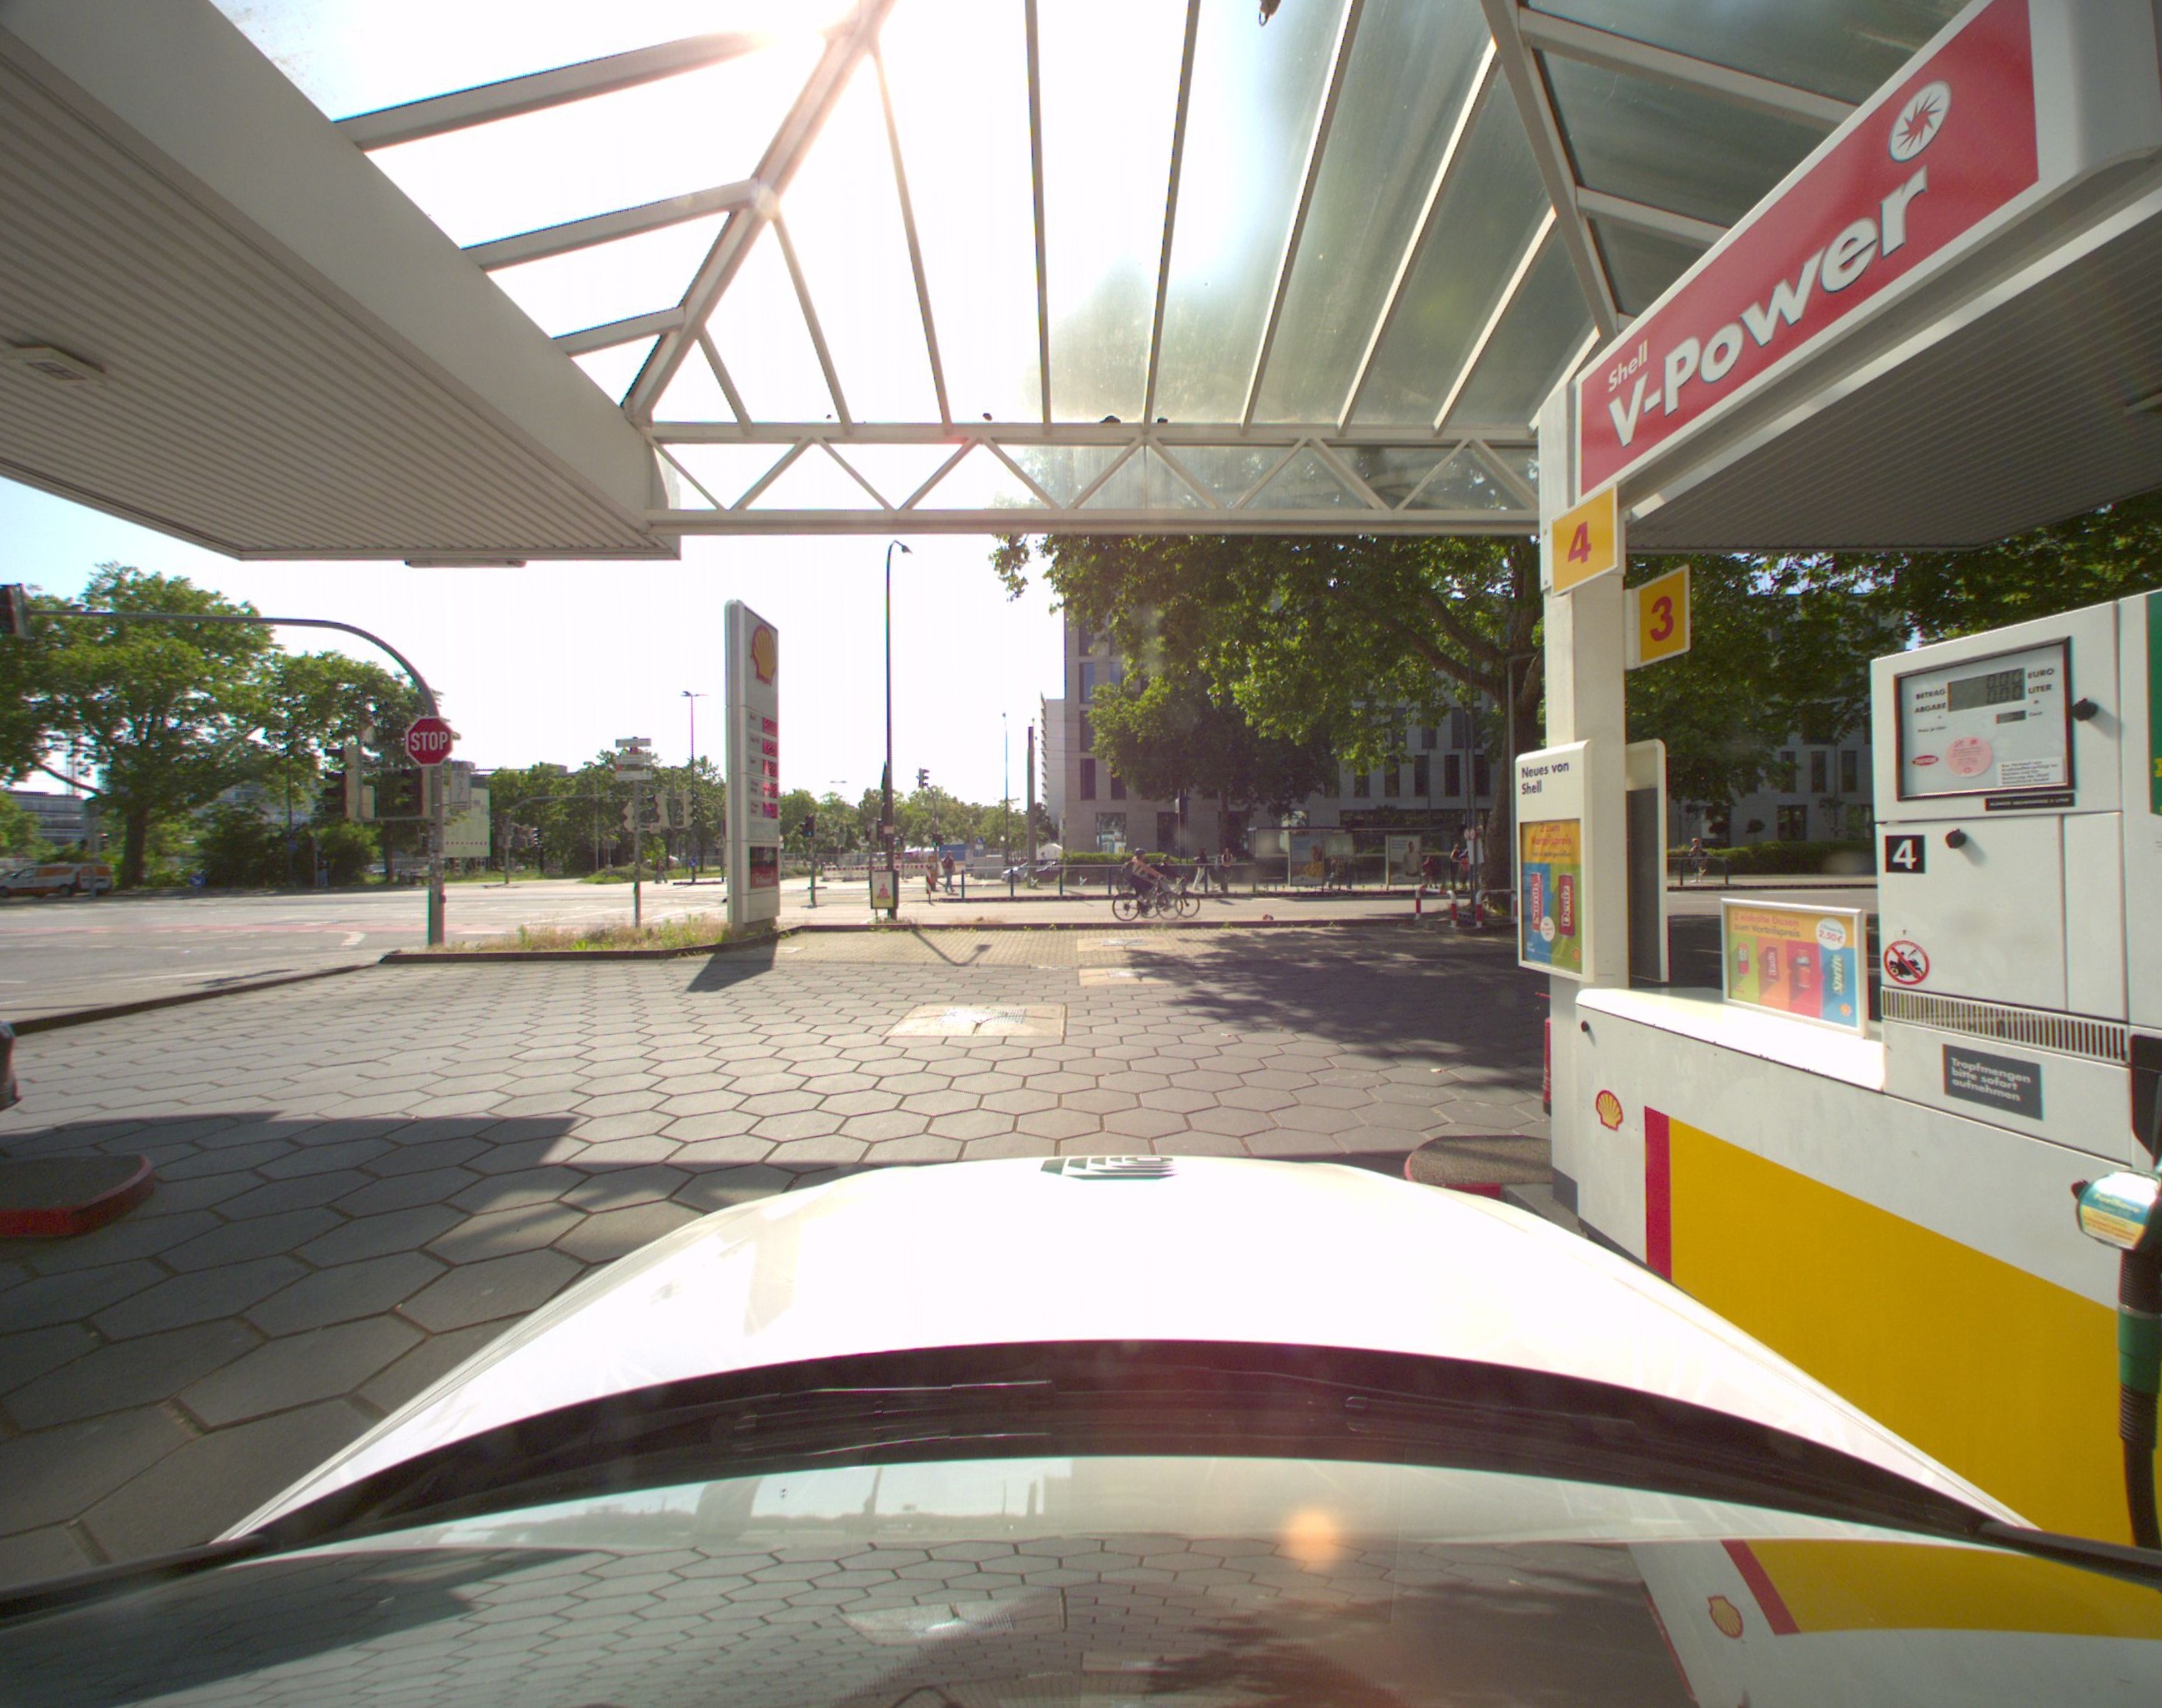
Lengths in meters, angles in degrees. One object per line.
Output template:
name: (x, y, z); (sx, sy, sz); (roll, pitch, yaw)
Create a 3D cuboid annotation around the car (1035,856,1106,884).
car: (-0.632, 0.899, 46.896); (3.982, 1.552, 1.699); (-1, 0, -7)

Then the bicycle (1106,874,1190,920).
bicycle: (1.648, 1.060, 20.178); (2.015, 1.082, 0.639); (-1, 0, -4)

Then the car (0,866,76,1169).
car: (-6.341, 0.845, 2.420); (1.739, 1.532, 3.998); (-2, -1, -1)

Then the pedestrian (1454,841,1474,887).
pedestrian: (14.448, 0.369, 30.703); (0.497, 1.735, 0.524); (-1, 0, 2)

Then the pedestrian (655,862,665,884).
pedestrian: (-29.355, 1.320, 56.781); (0.566, 1.469, 0.509); (-1, 0, -25)

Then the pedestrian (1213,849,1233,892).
pedestrian: (5.296, 0.602, 30.379); (0.582, 1.591, 0.670); (-1, 1, -1)

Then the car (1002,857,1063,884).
car: (-2.992, 0.982, 49.880); (3.678, 1.552, 1.588); (-1, 0, -7)

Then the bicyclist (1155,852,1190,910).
bicyclist: (2.460, 0.711, 22.003); (0.860, 1.544, 0.534); (0, -1, -2)

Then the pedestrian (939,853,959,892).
pedestrian: (-5.233, 0.718, 32.213); (0.646, 1.540, 0.504); (-1, 0, 8)

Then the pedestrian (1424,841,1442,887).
pedestrian: (13.330, 0.375, 30.862); (0.497, 1.735, 0.406); (-1, 0, 2)

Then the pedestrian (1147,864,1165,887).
pedestrian: (2.913, 0.839, 31.634); (0.686, 0.880, 0.504); (-1, 0, 8)

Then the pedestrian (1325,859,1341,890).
pedestrian: (9.479, 0.770, 30.628); (0.496, 1.138, 0.525); (-1, 0, 5)

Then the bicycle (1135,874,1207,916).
bicycle: (2.418, 1.101, 21.999); (1.856, 1.082, 0.524); (-1, 0, -2)

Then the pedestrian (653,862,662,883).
pedestrian: (-29.998, 1.312, 57.678); (0.566, 1.469, 0.509); (-1, 0, -25)

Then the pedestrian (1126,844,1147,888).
pedestrian: (2.174, 0.458, 31.736); (0.772, 1.683, 0.504); (-1, 0, 8)

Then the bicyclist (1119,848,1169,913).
bicyclist: (1.552, 0.649, 20.182); (1.167, 1.580, 0.639); (-1, 0, -4)

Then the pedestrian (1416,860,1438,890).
pedestrian: (13.091, 0.793, 30.788); (0.625, 1.138, 0.525); (-1, 0, 5)

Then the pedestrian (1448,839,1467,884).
pedestrian: (14.900, 0.289, 32.202); (0.497, 1.735, 0.524); (-1, 0, 2)

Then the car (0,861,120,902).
car: (-56.929, 1.499, 45.244); (4.423, 2.013, 1.997); (-3, -1, -4)

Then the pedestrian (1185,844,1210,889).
pedestrian: (4.494, 0.483, 31.361); (0.927, 1.683, 0.504); (-1, 0, 8)

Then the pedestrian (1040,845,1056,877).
pedestrian: (-2.359, 0.514, 58.686); (1.105, 2.248, 1.102); (-1, 0, -1)

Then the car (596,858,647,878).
car: (-46.840, 1.459, 83.042); (3.970, 1.816, 2.002); (-3, -1, 3)
